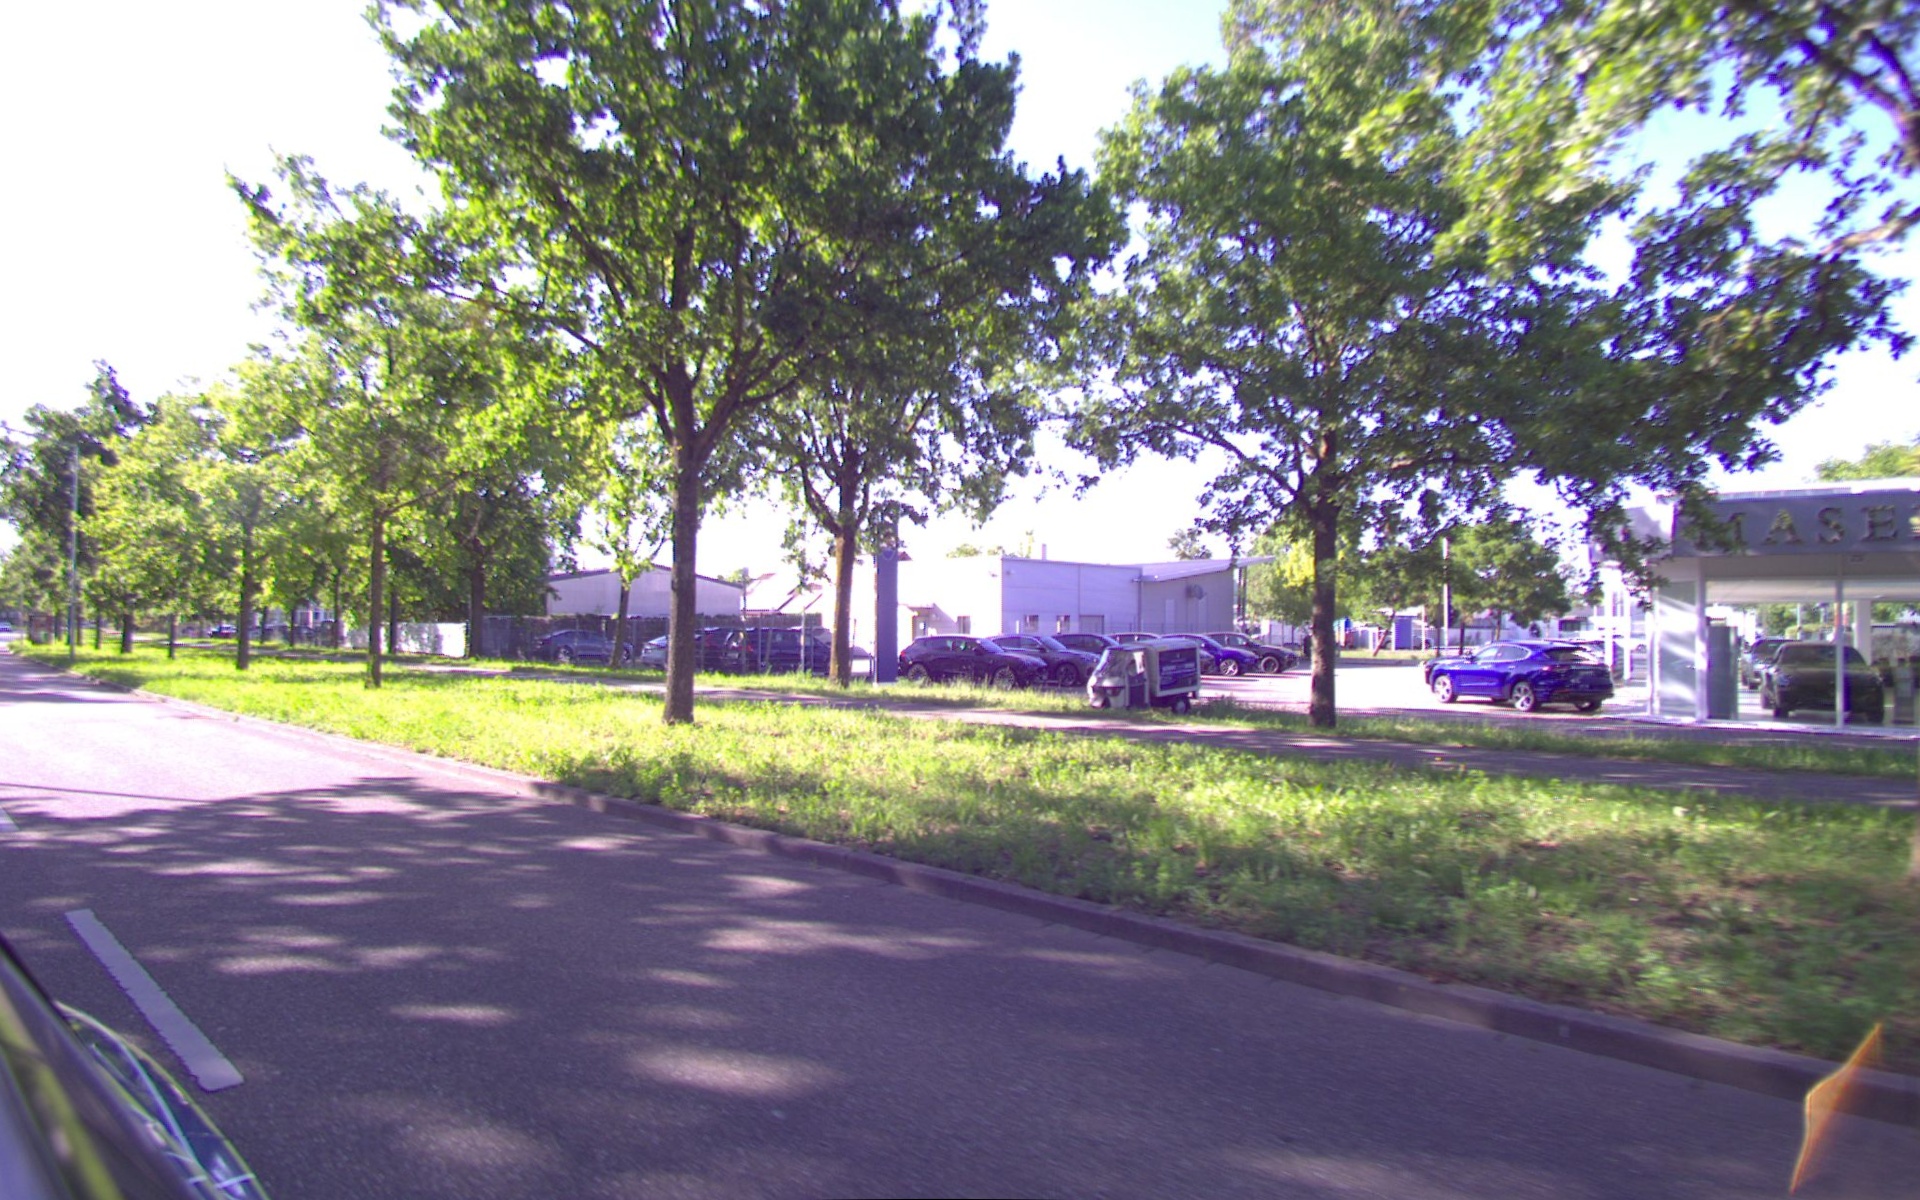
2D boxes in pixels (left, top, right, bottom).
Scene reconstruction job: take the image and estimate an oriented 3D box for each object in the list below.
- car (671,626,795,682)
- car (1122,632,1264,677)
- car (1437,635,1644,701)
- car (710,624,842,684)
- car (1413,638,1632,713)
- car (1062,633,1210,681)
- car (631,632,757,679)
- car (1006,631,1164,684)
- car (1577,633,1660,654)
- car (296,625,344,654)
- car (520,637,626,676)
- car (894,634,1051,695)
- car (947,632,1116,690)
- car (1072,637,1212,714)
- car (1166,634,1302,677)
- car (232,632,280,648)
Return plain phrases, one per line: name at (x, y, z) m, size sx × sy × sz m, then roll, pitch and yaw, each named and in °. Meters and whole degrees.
car at (-8.071, 1.881, 36.131) m, size 1.862 × 1.759 × 3.942 m, roll -1°, pitch 0°, yaw 44°
car at (9.341, 2.146, 40.735) m, size 5.238 × 1.673 × 1.980 m, roll -1°, pitch 0°, yaw 30°
car at (16.624, 1.901, 29.344) m, size 1.965 × 1.673 × 5.026 m, roll -1°, pitch -2°, yaw -21°
car at (-6.130, 1.752, 33.962) m, size 3.941 × 1.755 × 2.001 m, roll -1°, pitch 0°, yaw -45°
car at (14.139, 1.825, 25.916) m, size 1.968 × 1.673 × 5.270 m, roll -1°, pitch -2°, yaw -10°
car at (6.681, 2.120, 38.597) m, size 5.238 × 1.673 × 1.980 m, roll -1°, pitch 0°, yaw 30°
car at (-10.012, 2.052, 38.318) m, size 1.862 × 1.530 × 4.262 m, roll -1°, pitch 0°, yaw 44°
car at (4.440, 2.003, 36.238) m, size 5.238 × 1.702 × 1.980 m, roll -1°, pitch 0°, yaw 30°
car at (54.793, 3.628, 84.308) m, size 1.970 × 1.673 × 5.436 m, roll 0°, pitch -2°, yaw -44°
car at (-49.948, 3.026, 78.904) m, size 1.970 × 2.191 × 5.675 m, roll 1°, pitch -2°, yaw -44°
car at (-17.509, 2.524, 45.866) m, size 2.199 × 1.530 × 3.942 m, roll -1°, pitch 0°, yaw 44°
car at (0.376, 1.939, 31.335) m, size 4.476 × 1.688 × 1.982 m, roll -1°, pitch 0°, yaw 27°
car at (2.338, 1.975, 33.591) m, size 5.235 × 1.730 × 1.981 m, roll -1°, pitch 0°, yaw 28°
car at (3.769, 1.514, 20.900) m, size 2.531 × 1.481 × 1.430 m, roll 1°, pitch -2°, yaw -31°
car at (11.612, 2.308, 42.935) m, size 5.238 × 1.673 × 1.980 m, roll -1°, pitch 0°, yaw 30°
car at (-74.244, 4.172, 106.768) m, size 3.826 × 1.513 × 2.007 m, roll -1°, pitch 0°, yaw -24°
